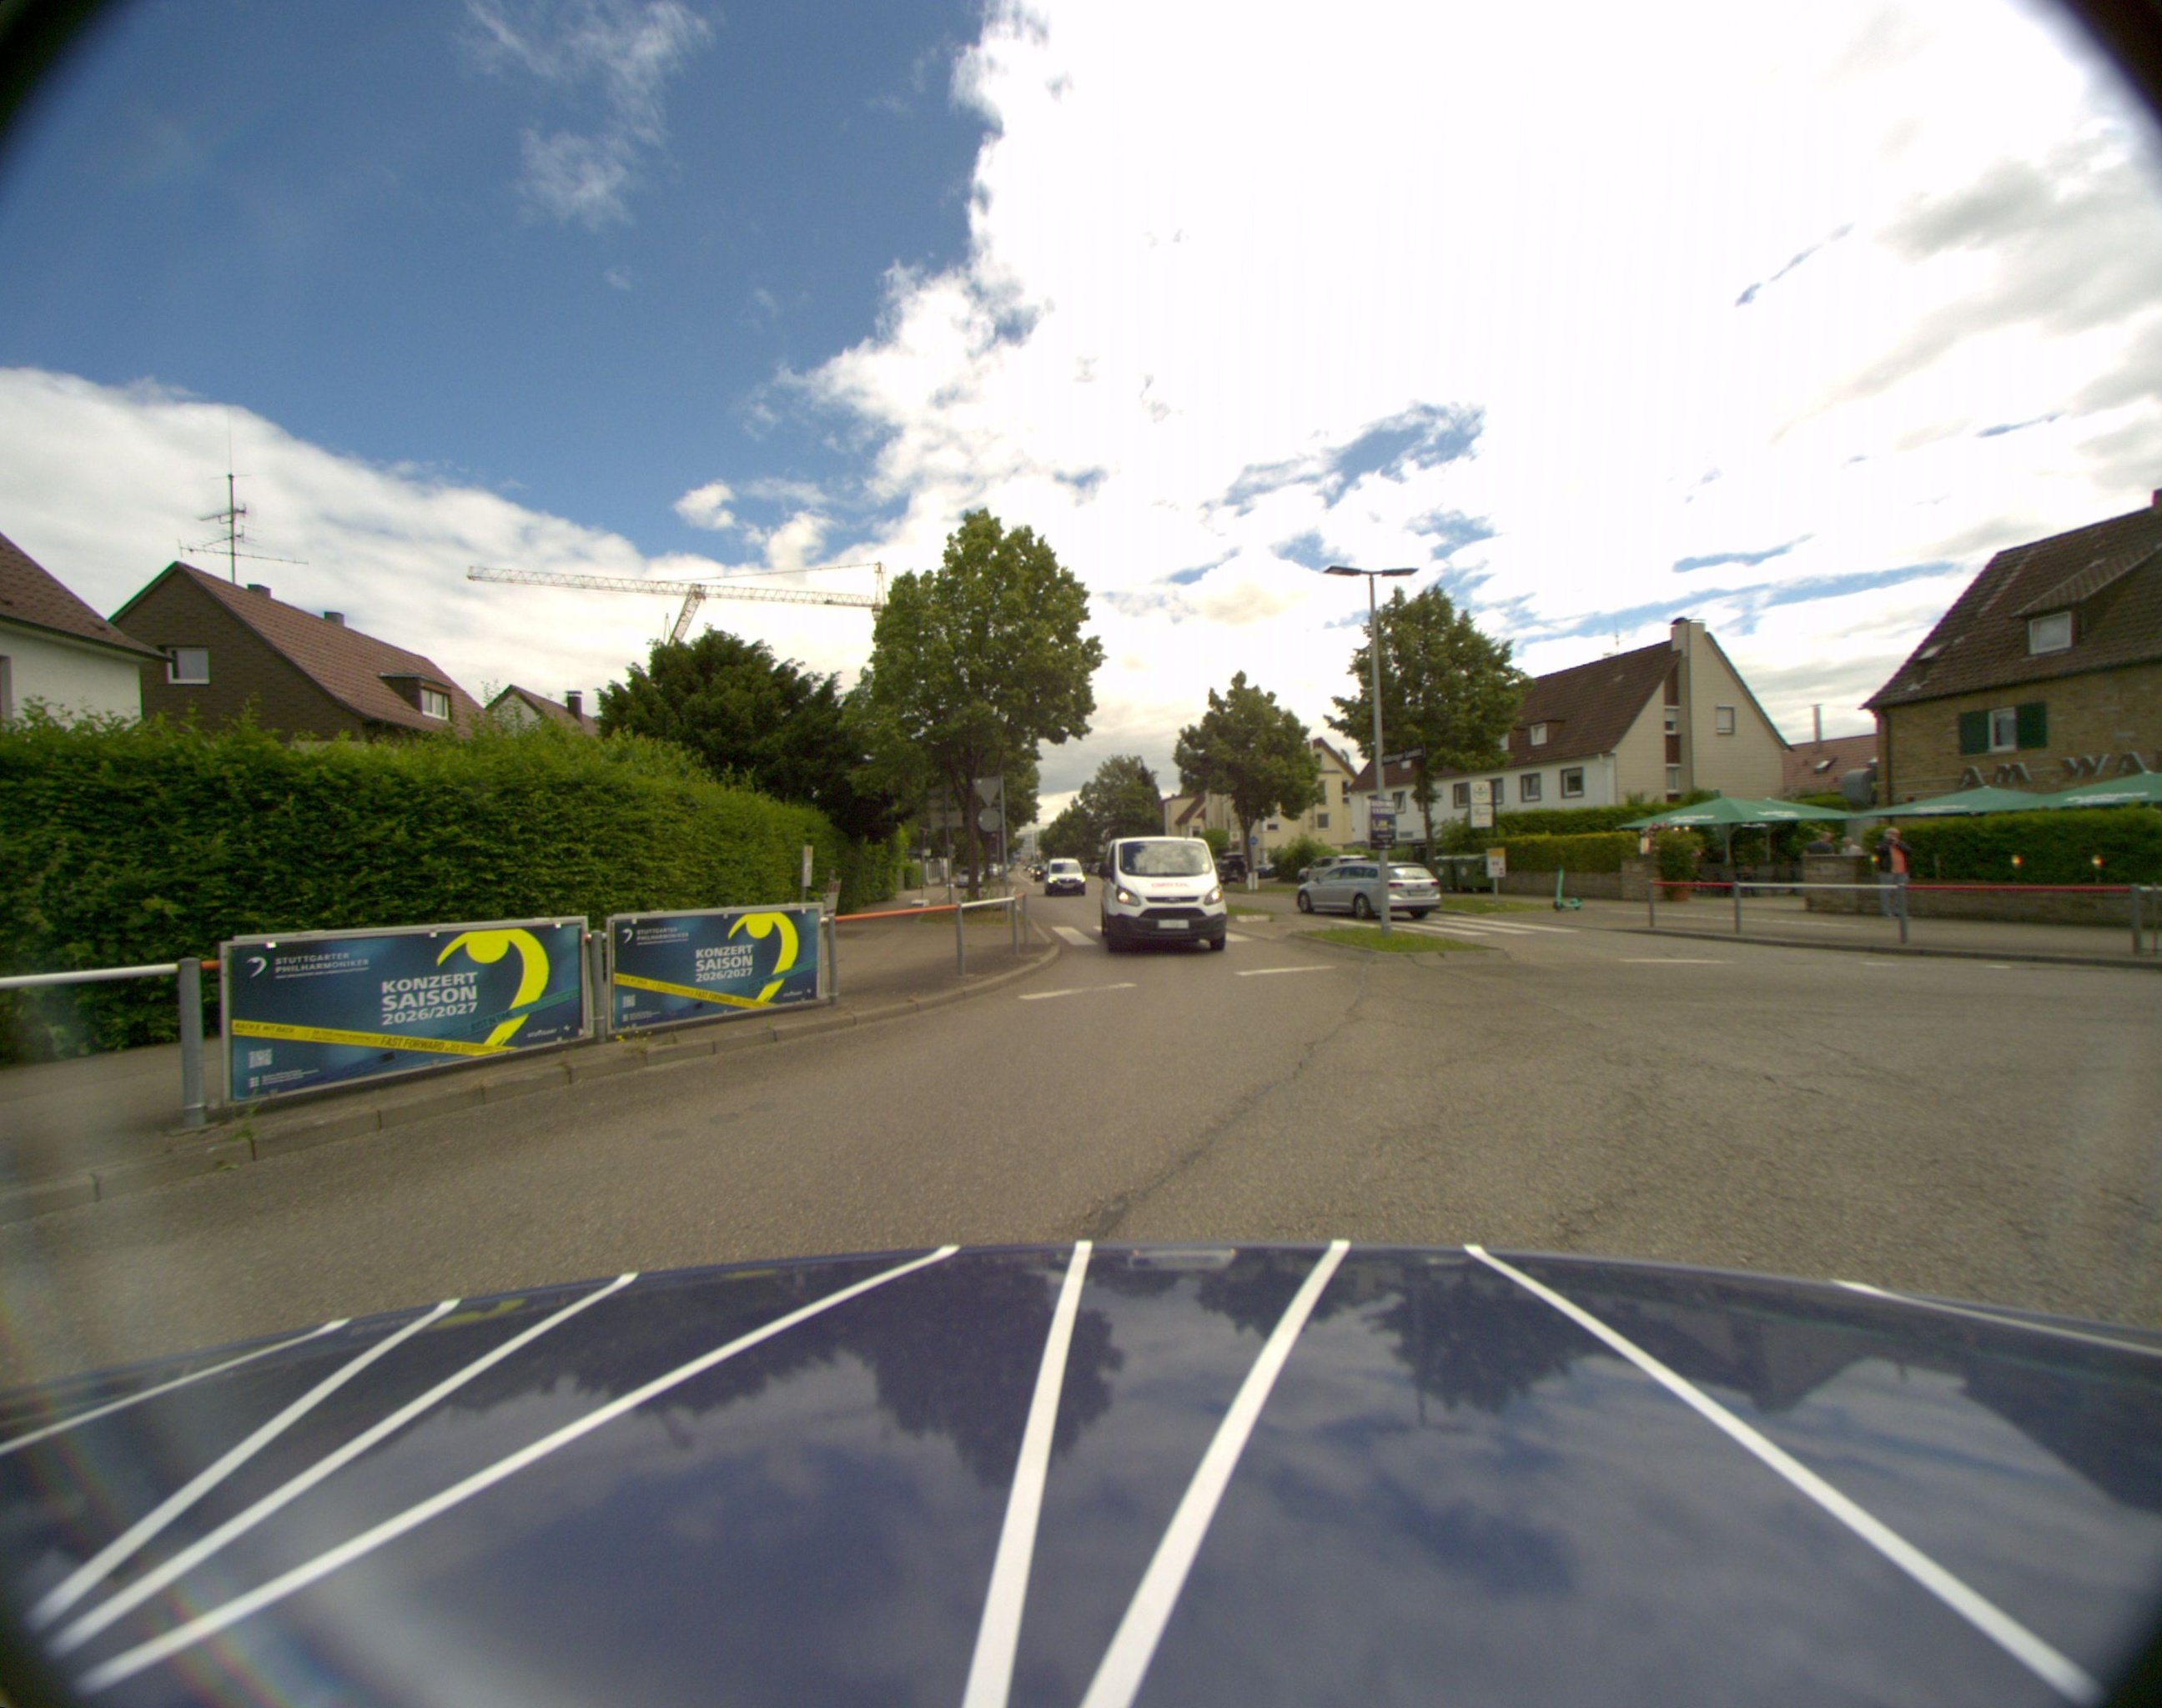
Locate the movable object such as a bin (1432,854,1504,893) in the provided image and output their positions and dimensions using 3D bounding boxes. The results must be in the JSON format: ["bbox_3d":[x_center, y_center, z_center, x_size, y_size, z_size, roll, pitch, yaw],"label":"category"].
[{"bbox_3d":[14.673,0.731,28.925,0.984,1.408,2.720,-2,0,-9],"label":"movable object such as a bin"}]

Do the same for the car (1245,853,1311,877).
[{"bbox_3d":[13.767,0.757,53.073,4.049,1.530,1.751,-2,0,-12],"label":"car"}]

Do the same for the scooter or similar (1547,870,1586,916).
[{"bbox_3d":[12.585,0.996,19.681,1.049,1.124,0.380,-1,0,-28],"label":"scooter or similar"}]

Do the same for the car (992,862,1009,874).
[{"bbox_3d":[-9.667,1.703,91.280,1.811,1.334,3.998,-2,0,-5],"label":"car"}]

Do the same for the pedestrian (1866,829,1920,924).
[{"bbox_3d":[16.143,0.442,15.103,0.639,1.816,0.565,-3,0,-32],"label":"pedestrian"}]

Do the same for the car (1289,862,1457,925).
[{"bbox_3d":[7.605,0.976,20.354,1.808,1.446,4.687,-1,-1,-14],"label":"car"}]

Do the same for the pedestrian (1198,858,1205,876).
[{"bbox_3d":[9.318,0.978,58.752,0.387,1.357,0.413,-2,0,-5],"label":"pedestrian"}]

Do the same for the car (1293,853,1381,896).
[{"bbox_3d":[10.625,0.851,31.848,1.752,1.626,4.045,-2,0,-9],"label":"car"}]

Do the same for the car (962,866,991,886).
[{"bbox_3d":[-7.448,1.541,54.677,1.811,1.334,3.998,-2,0,-5],"label":"car"}]

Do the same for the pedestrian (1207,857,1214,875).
[{"bbox_3d":[9.911,0.885,58.031,0.387,1.357,0.413,-2,0,-5],"label":"pedestrian"}]

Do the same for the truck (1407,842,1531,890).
[{"bbox_3d":[16.594,0.508,32.579,4.502,1.839,1.864,-2,0,-12],"label":"truck"}]

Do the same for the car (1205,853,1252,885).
[{"bbox_3d":[9.051,0.900,46.924,1.752,1.819,4.046,-2,0,-5],"label":"car"}]

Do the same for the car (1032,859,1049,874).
[{"bbox_3d":[-4.820,1.410,89.397,1.826,1.658,3.998,-2,0,-4],"label":"car"}]

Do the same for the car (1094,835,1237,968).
[{"bbox_3d":[1.353,0.750,14.287,1.999,2.002,5.050,-2,0,-1],"label":"car"}]

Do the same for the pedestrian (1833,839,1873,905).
[{"bbox_3d":[20.579,0.484,20.265,0.489,1.717,0.567,-2,0,10],"label":"pedestrian"}]

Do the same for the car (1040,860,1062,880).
[{"bbox_3d":[-2.710,1.368,67.799,1.826,1.658,3.998,-2,0,-4],"label":"car"}]

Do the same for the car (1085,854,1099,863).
[{"bbox_3d":[1.492,0.608,107.497,1.498,1.220,3.192,-2,0,-8],"label":"car"}]

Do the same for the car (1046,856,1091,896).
[{"bbox_3d":[-0.690,1.028,37.130,1.927,1.744,3.998,-2,0,-4],"label":"car"}]

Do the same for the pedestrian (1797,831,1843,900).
[{"bbox_3d":[19.815,0.311,20.386,0.637,1.816,0.567,-2,0,10],"label":"pedestrian"}]
